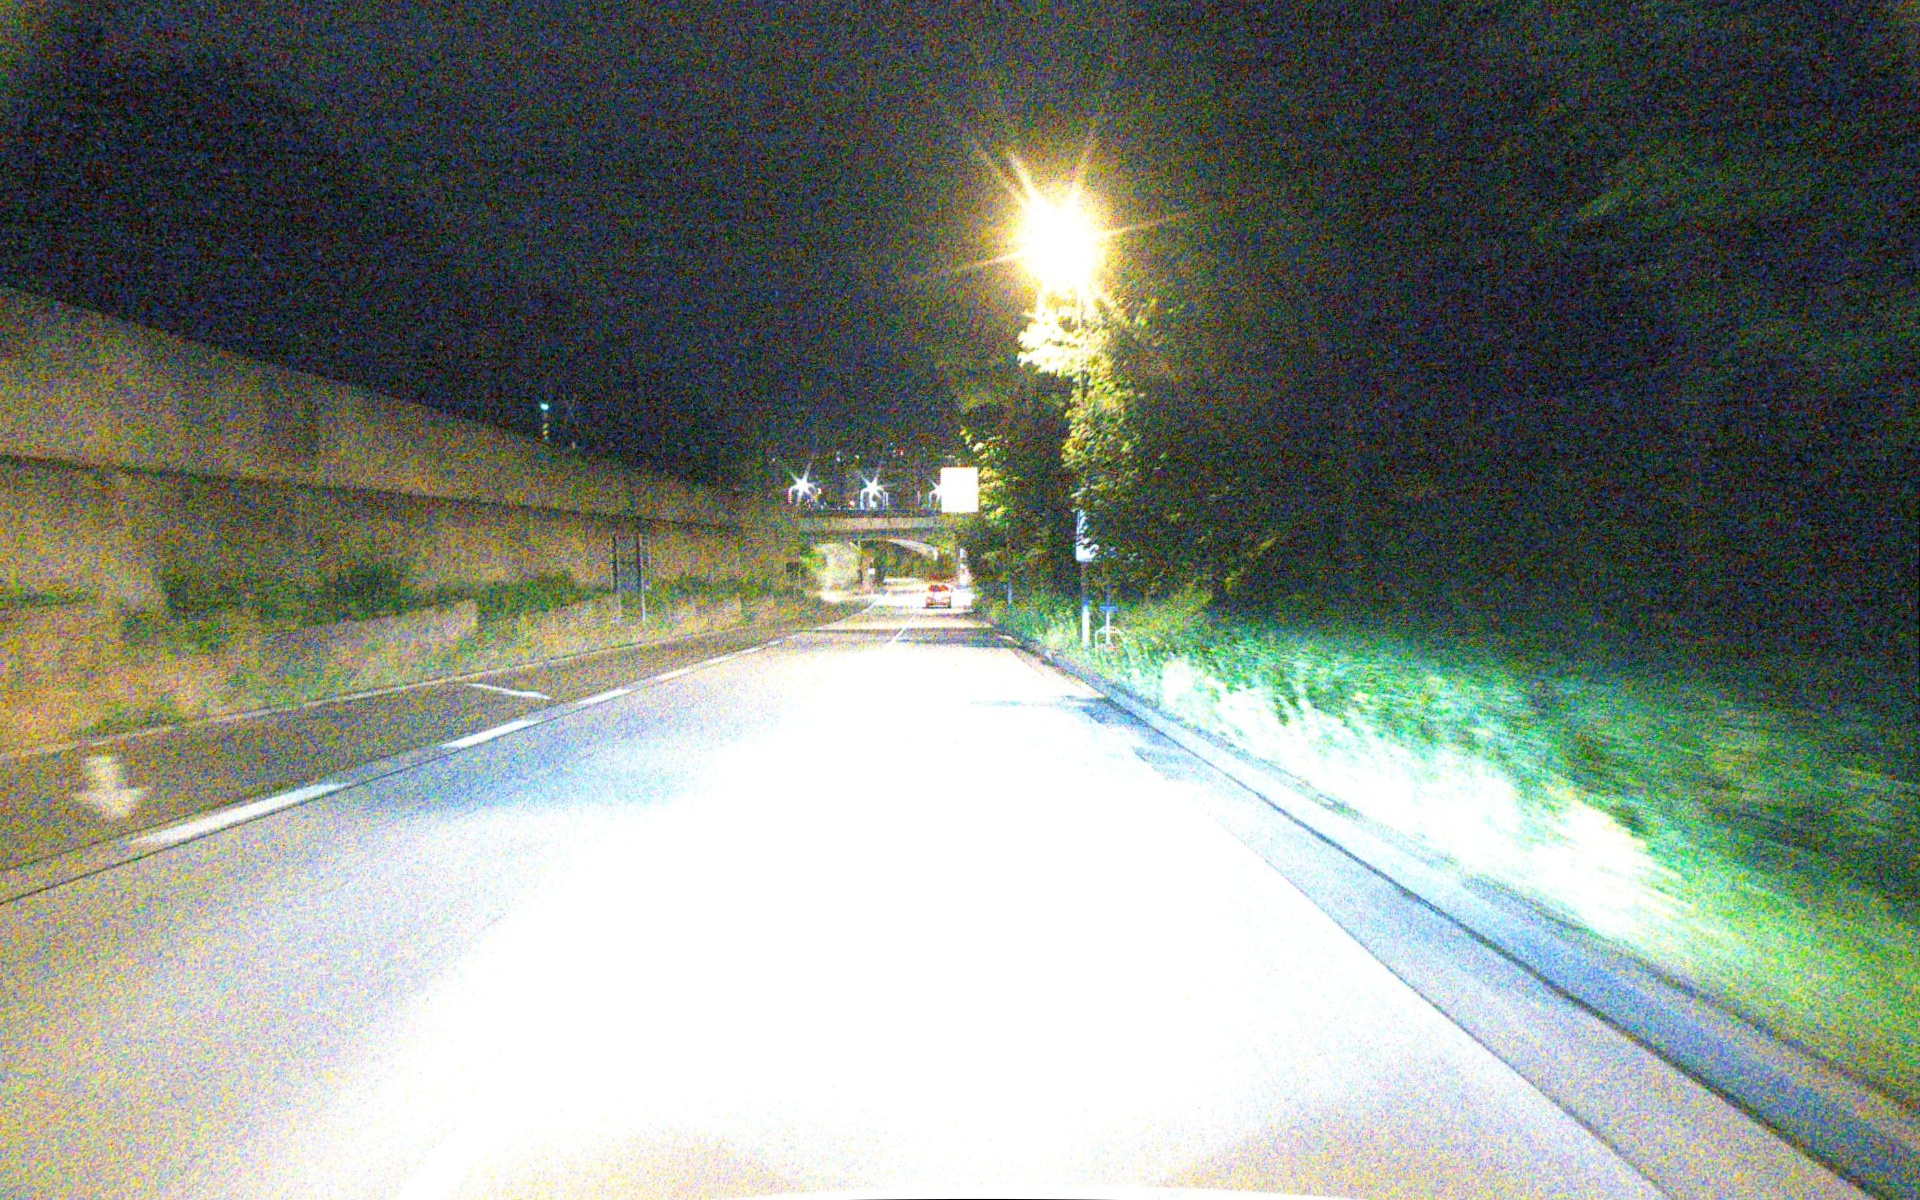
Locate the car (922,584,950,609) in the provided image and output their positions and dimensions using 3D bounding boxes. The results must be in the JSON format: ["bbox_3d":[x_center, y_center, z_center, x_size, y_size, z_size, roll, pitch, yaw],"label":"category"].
[{"bbox_3d":[-1.675,-0.240,113.852,1.728,1.670,3.721,0,1,-3],"label":"car"}]
